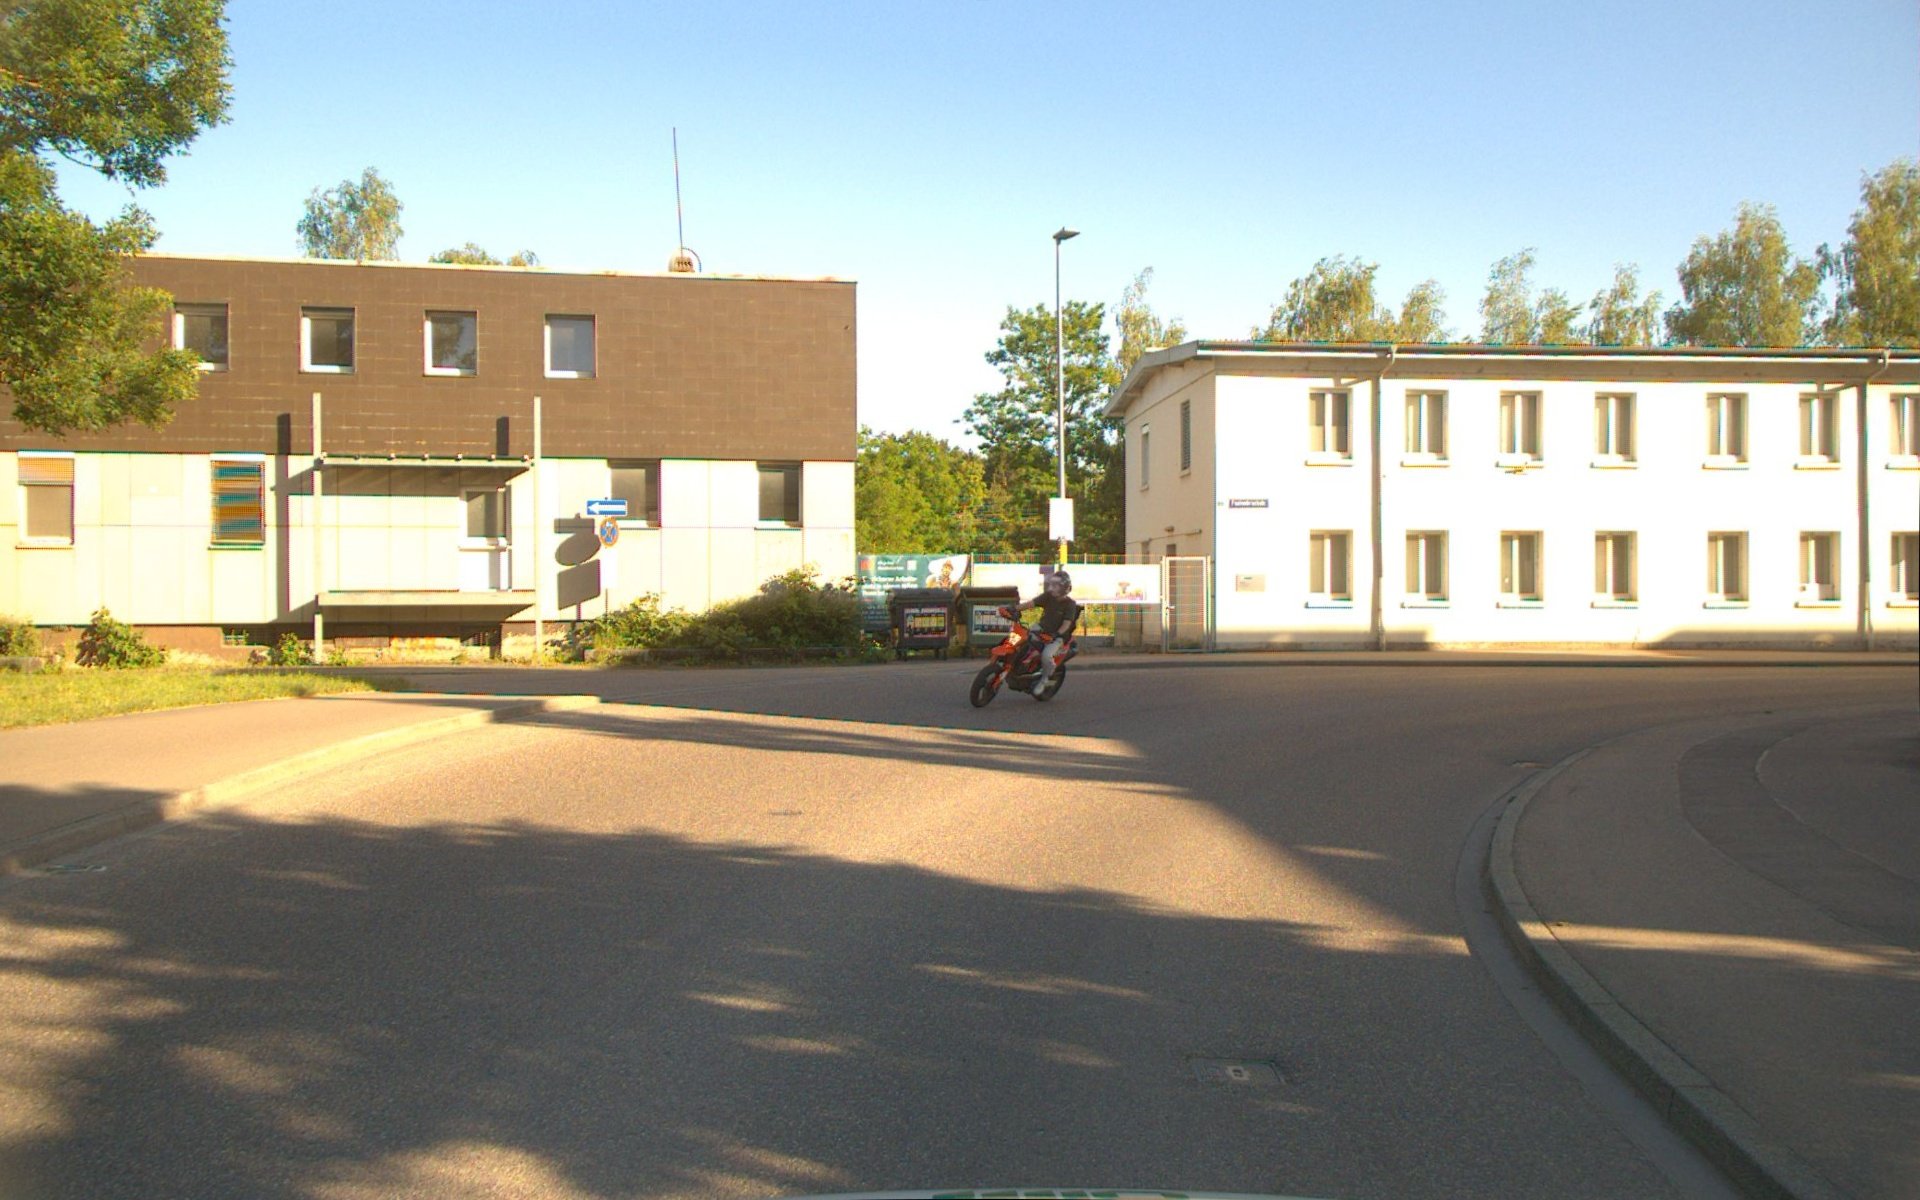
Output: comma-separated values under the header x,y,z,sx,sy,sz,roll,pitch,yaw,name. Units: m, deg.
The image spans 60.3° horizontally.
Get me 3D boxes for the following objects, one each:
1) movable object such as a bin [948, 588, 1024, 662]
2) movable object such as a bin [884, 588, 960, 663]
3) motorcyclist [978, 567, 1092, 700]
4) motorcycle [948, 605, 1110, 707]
x,y,z,sx,sy,sz,roll,pitch,yaw,name
0.529,0.522,34.079,1.340,1.443,1.063,3,-1,-10,movable object such as a bin
-0.776,0.521,33.579,1.340,1.443,1.063,3,-1,-10,movable object such as a bin
0.952,0.422,21.014,1.014,1.580,0.892,6,1,45,motorcyclist
0.895,0.685,20.975,0.947,1.206,2.022,1,0,44,motorcycle
